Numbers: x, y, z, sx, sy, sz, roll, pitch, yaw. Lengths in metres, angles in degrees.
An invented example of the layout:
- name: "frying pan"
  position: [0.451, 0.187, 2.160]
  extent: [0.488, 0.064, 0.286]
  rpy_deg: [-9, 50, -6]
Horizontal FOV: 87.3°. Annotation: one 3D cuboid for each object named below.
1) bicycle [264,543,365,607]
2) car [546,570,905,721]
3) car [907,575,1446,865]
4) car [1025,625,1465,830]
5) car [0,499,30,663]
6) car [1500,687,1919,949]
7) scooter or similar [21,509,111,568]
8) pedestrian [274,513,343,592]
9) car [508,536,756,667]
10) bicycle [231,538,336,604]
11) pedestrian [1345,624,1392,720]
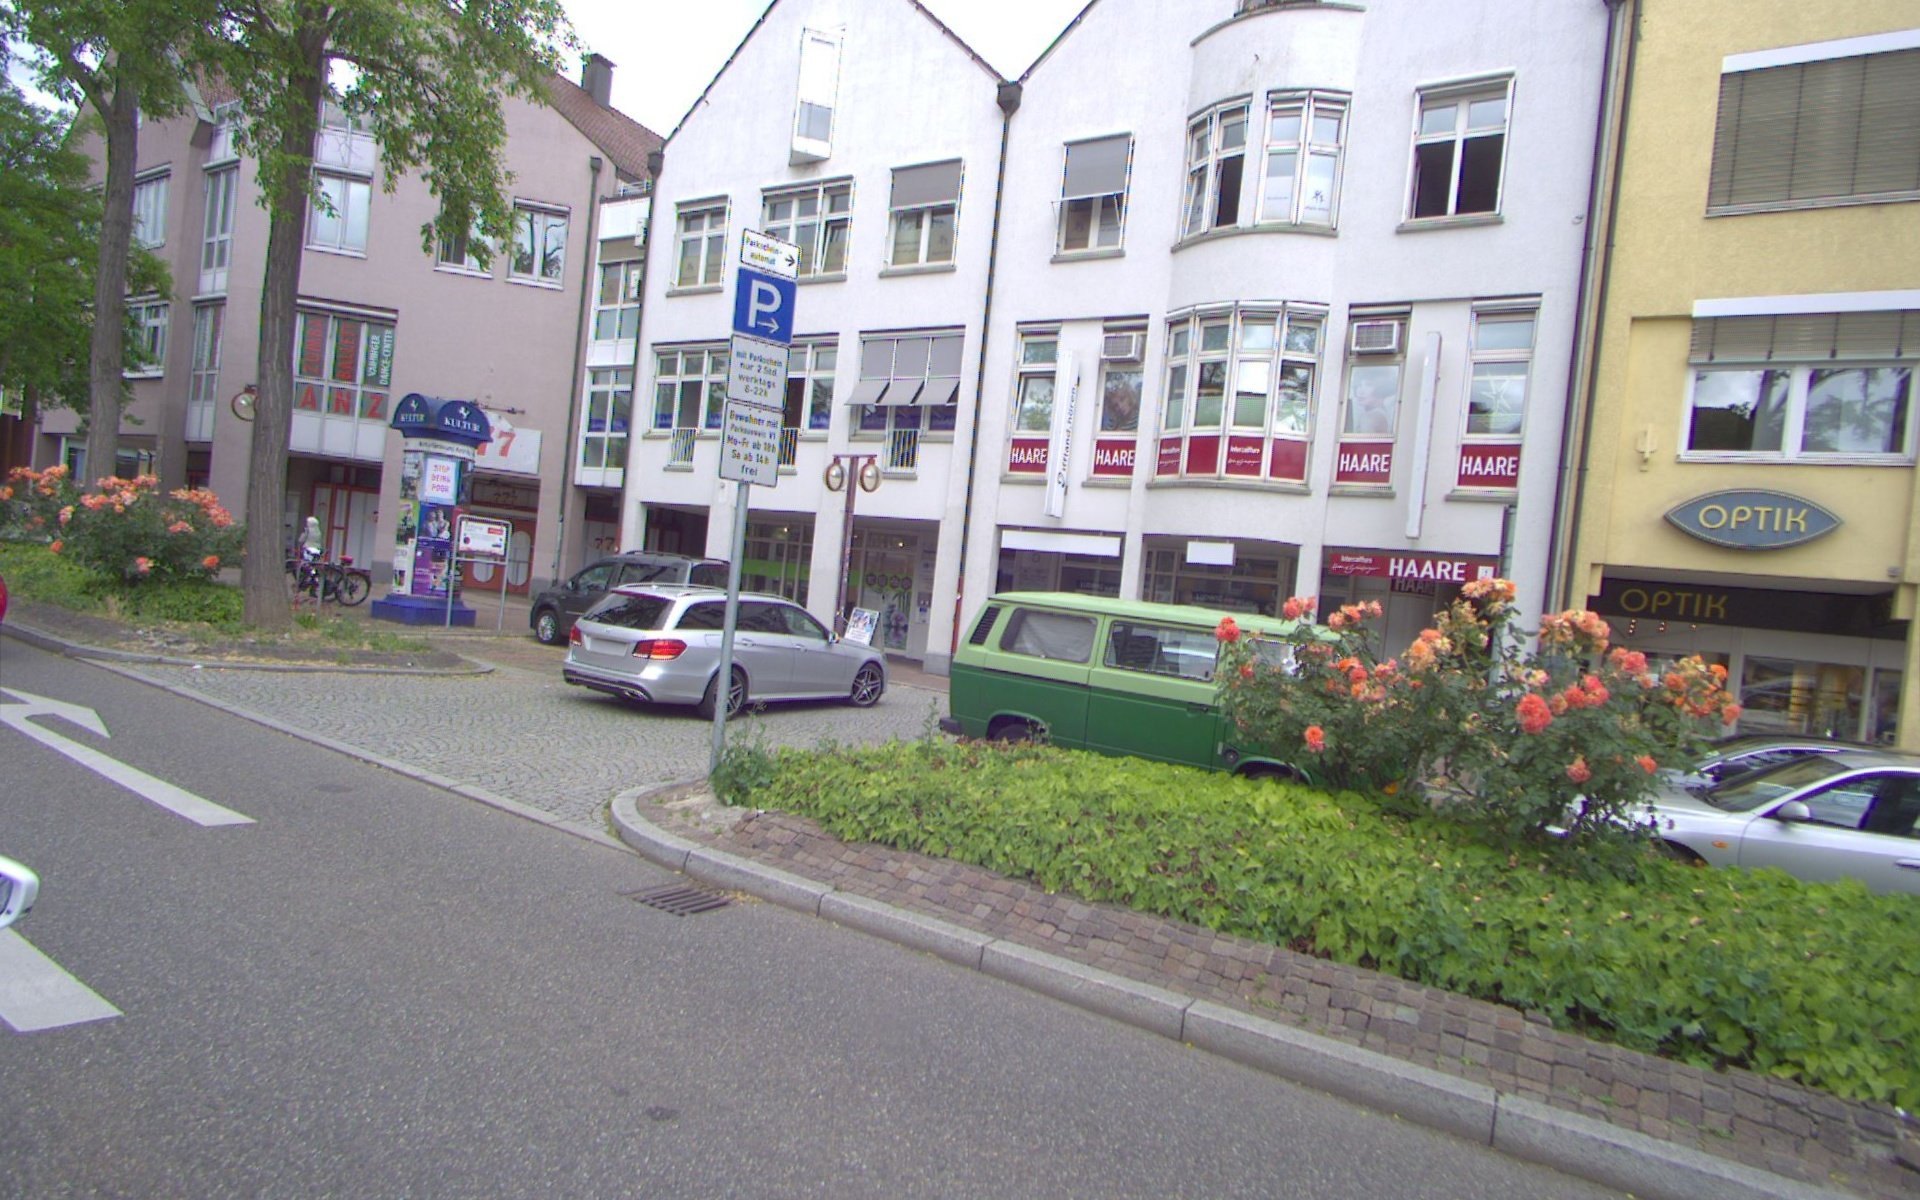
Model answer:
- name: "bicycle"
  position: [-12.791, -0.493, 19.954]
  extent: [1.545, 1.061, 0.405]
  rpy_deg: [7, 1, -17]
- name: "car"
  position: [-2.791, 0.603, 13.127]
  extent: [1.711, 1.472, 4.643]
  rpy_deg: [7, 1, 31]
- name: "car"
  position: [2.053, 0.966, 9.919]
  extent: [4.672, 1.900, 1.996]
  rpy_deg: [6, 1, 29]
- name: "car"
  position: [3.376, 1.361, 12.117]
  extent: [4.672, 1.567, 1.996]
  rpy_deg: [6, 1, 28]
- name: "car"
  position: [-10.482, -0.425, 9.395]
  extent: [3.581, 1.465, 1.630]
  rpy_deg: [7, -2, 32]
- name: "car"
  position: [6.669, 1.640, 7.344]
  extent: [4.673, 1.326, 1.840]
  rpy_deg: [6, 1, 30]
- name: "scooter or similar"
  position: [-19.909, -1.363, 22.404]
  extent: [1.852, 1.101, 0.471]
  rpy_deg: [6, 1, 14]
- name: "pedestrian"
  position: [-14.896, -1.077, 23.008]
  extent: [1.075, 1.647, 0.809]
  rpy_deg: [7, 1, 29]
- name: "car"
  position: [-5.937, 0.002, 18.083]
  extent: [4.188, 1.827, 1.736]
  rpy_deg: [7, 1, 29]
- name: "bicycle"
  position: [-12.944, -0.540, 19.282]
  extent: [1.545, 1.061, 0.405]
  rpy_deg: [7, 1, -17]
- name: "pedestrian"
  position: [7.325, 1.290, 18.054]
  extent: [0.547, 1.631, 0.423]
  rpy_deg: [7, 1, 31]
